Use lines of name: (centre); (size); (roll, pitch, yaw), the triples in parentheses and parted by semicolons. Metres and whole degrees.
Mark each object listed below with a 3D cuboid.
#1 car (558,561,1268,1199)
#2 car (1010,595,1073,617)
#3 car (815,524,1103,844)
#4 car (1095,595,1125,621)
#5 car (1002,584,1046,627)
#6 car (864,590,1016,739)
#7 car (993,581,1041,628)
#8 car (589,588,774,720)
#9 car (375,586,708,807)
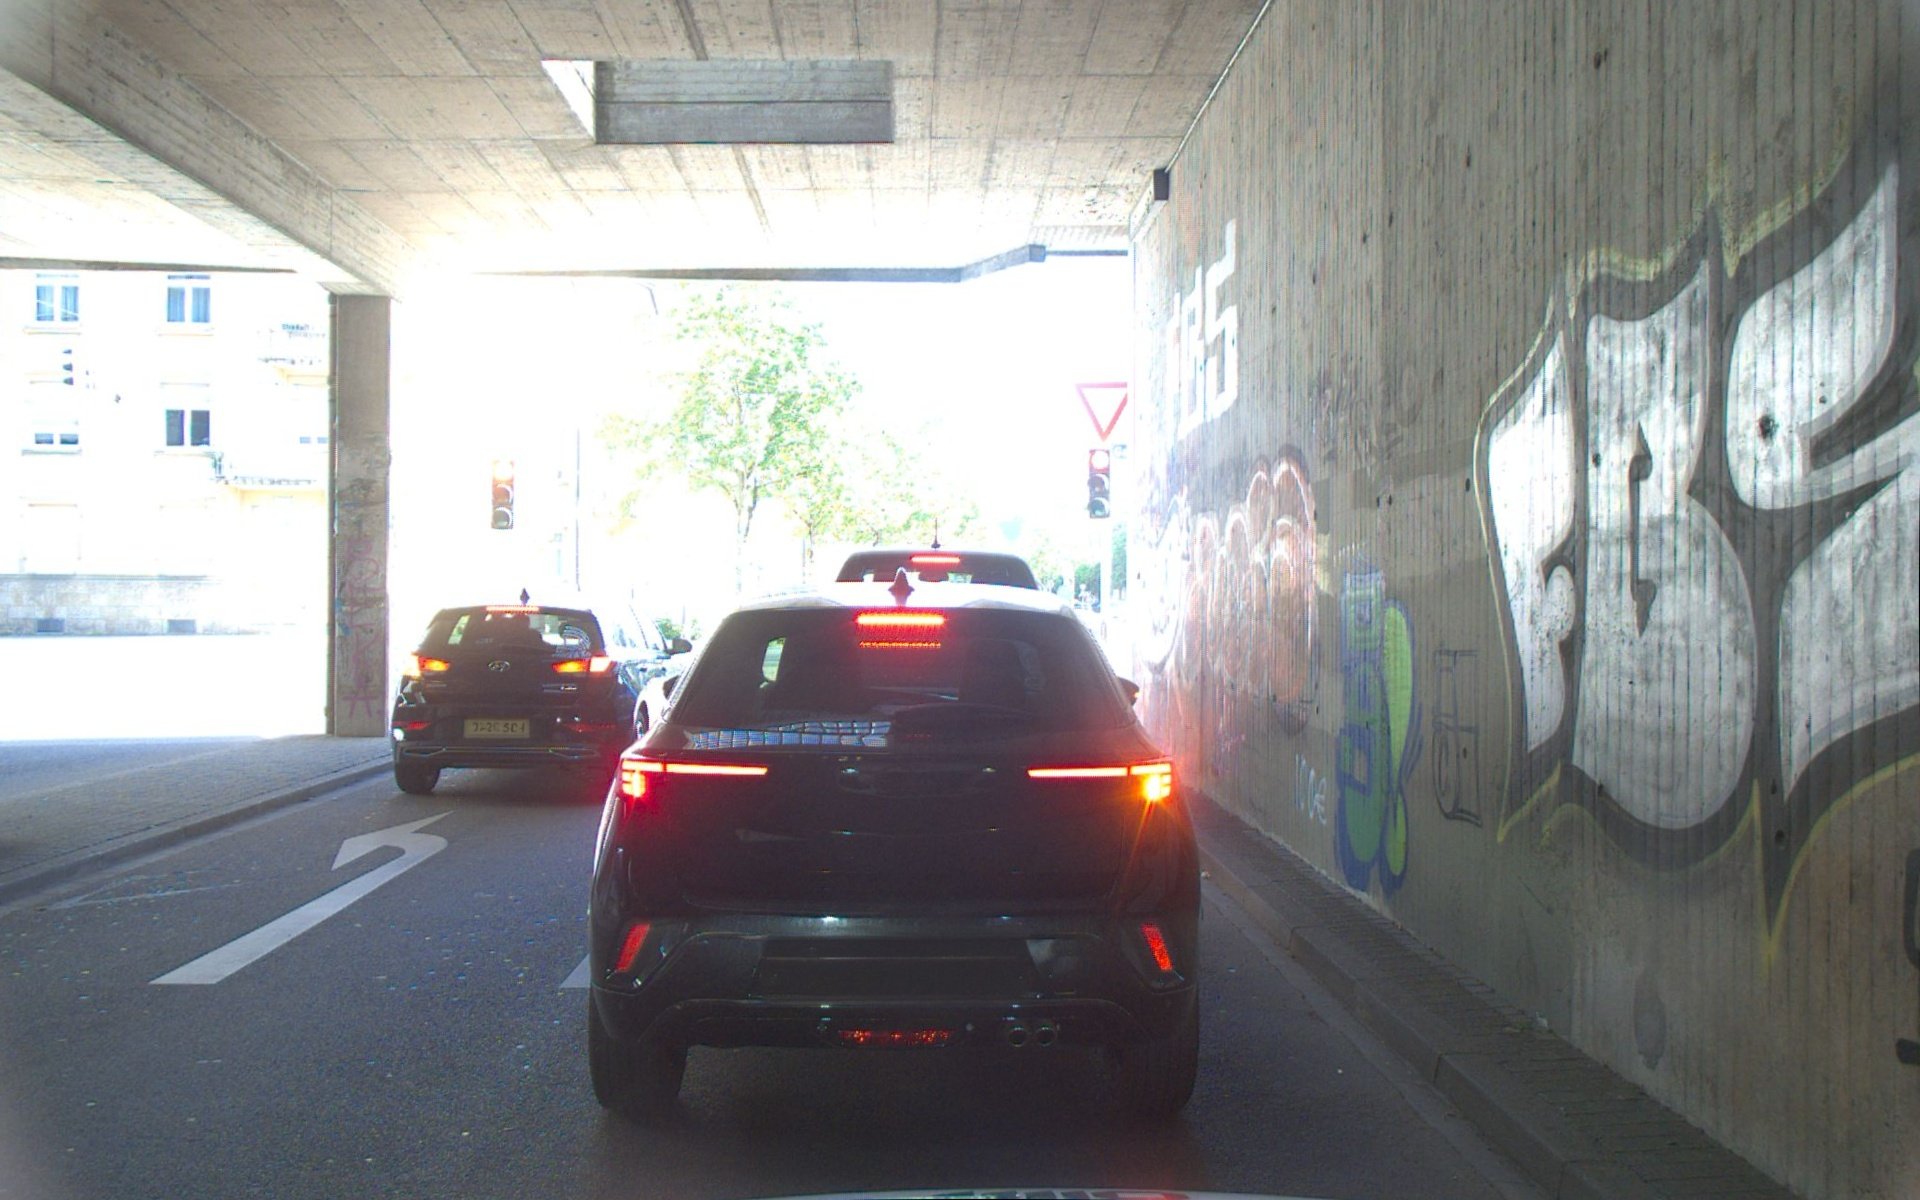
car: (-0.139, 0.683, 6.081); (1.726, 1.558, 4.088); (0, 0, -1)
car: (6.596, 0.522, 133.862); (4.732, 1.696, 1.812); (1, 0, -22)
car: (-0.032, 0.501, 12.026); (1.726, 1.915, 4.145); (0, 0, -1)
car: (10.535, 0.562, 115.873); (1.716, 1.696, 3.948); (1, 0, 10)
car: (2.670, 0.219, 68.347); (1.717, 1.696, 3.946); (1, 0, 3)
car: (-0.238, 0.668, 19.240); (1.576, 1.539, 4.053); (0, 0, -1)
car: (2.181, 0.184, 62.221); (1.717, 1.696, 3.946); (1, 0, 3)
car: (-3.419, 0.617, 20.945); (1.726, 1.506, 3.843); (0, 0, -1)
car: (-3.149, 0.655, 13.224); (1.726, 1.506, 3.843); (0, 0, -1)
